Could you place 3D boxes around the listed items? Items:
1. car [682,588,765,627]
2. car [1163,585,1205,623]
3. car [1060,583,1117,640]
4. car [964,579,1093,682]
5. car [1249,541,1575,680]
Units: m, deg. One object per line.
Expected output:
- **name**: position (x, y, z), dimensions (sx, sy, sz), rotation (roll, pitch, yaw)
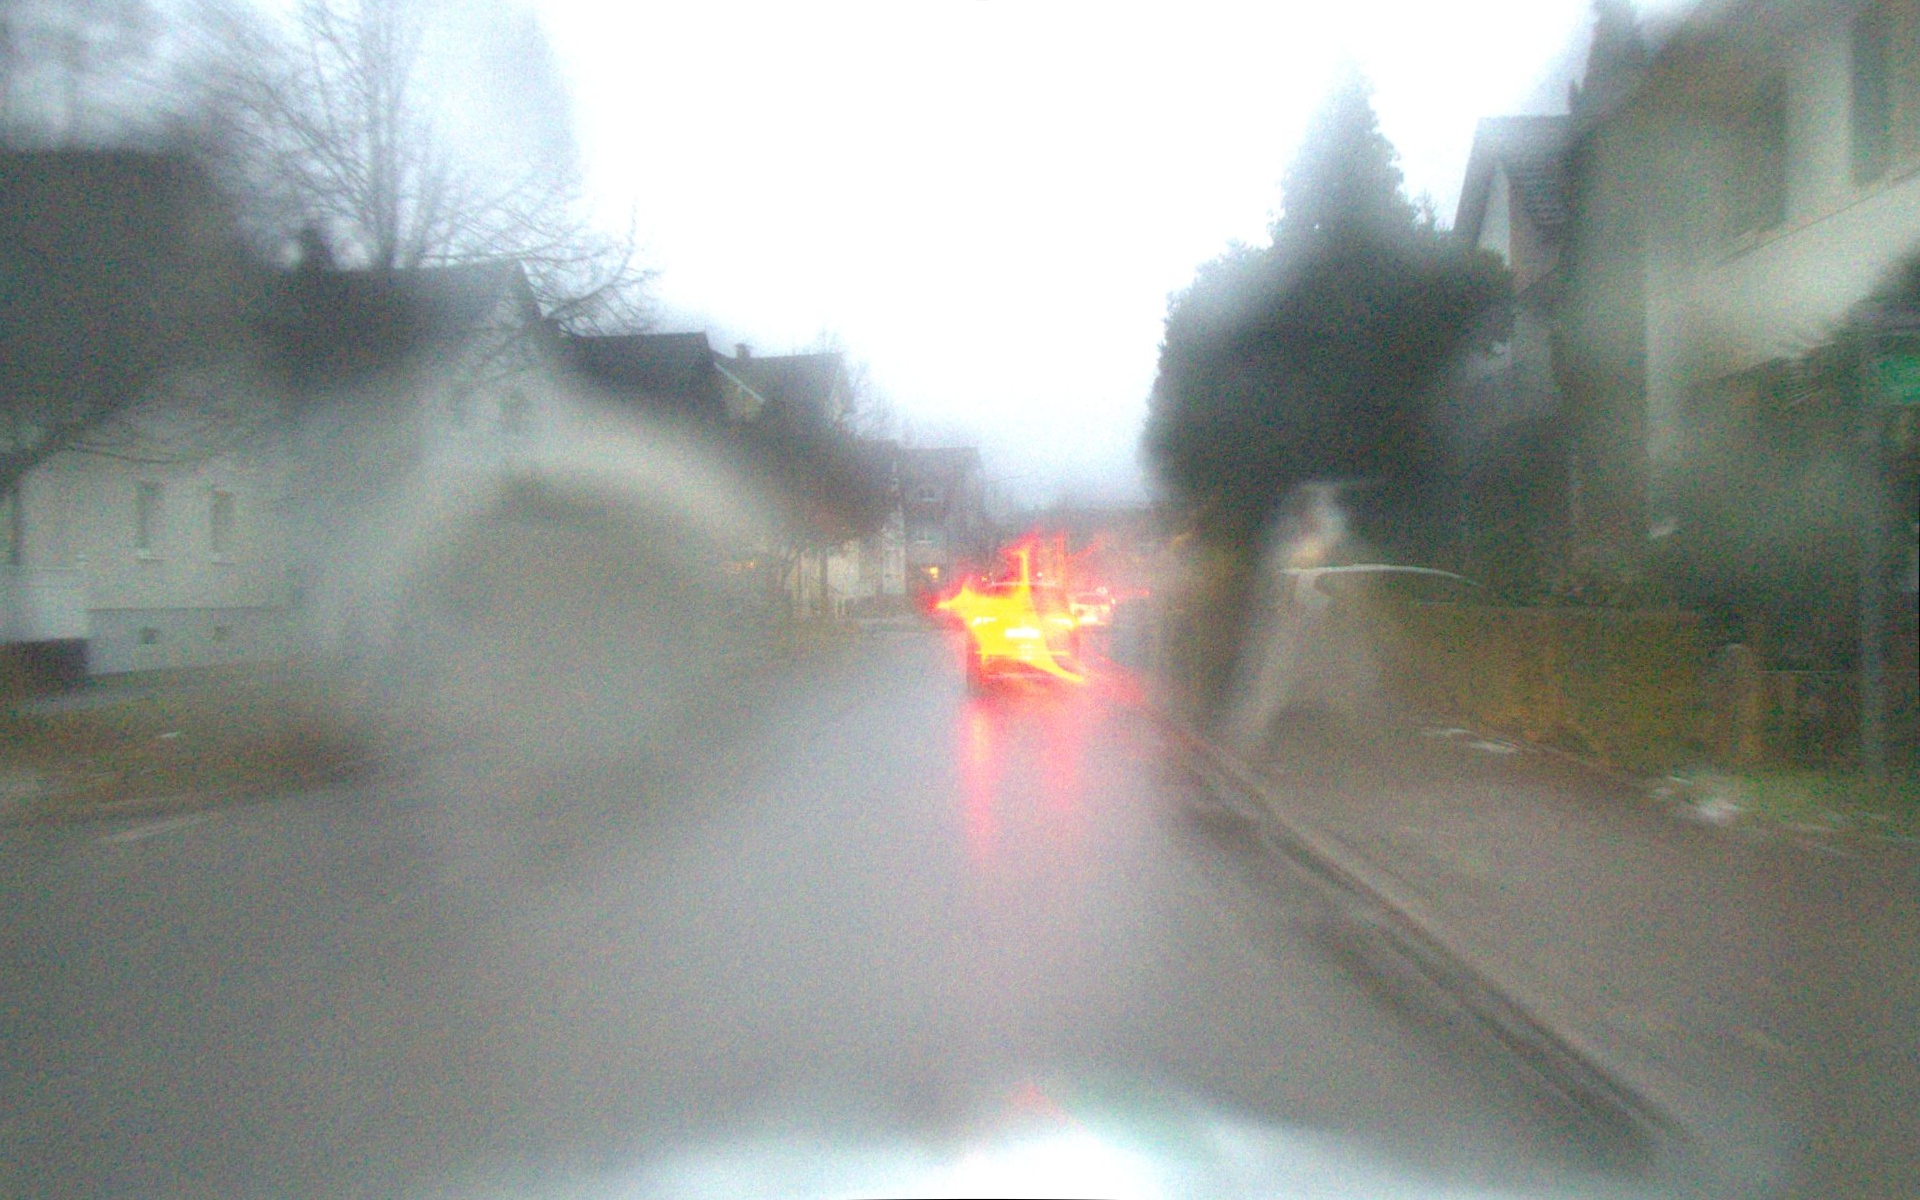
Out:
- **car**: position (-8.647, 0.276, 60.796), dimensions (1.744, 1.390, 4.003), rotation (1, 0, 11)
- **car**: position (10.096, 0.178, 74.307), dimensions (1.614, 1.567, 3.393), rotation (-2, 0, 11)
- **car**: position (4.888, 0.435, 62.333), dimensions (1.951, 2.049, 4.003), rotation (1, 0, 7)
- **car**: position (1.047, 0.451, 27.070), dimensions (1.953, 1.552, 4.000), rotation (0, 0, 0)
- **car**: position (6.632, 0.138, 24.628), dimensions (4.235, 1.762, 2.000), rotation (-3, 0, -1)
